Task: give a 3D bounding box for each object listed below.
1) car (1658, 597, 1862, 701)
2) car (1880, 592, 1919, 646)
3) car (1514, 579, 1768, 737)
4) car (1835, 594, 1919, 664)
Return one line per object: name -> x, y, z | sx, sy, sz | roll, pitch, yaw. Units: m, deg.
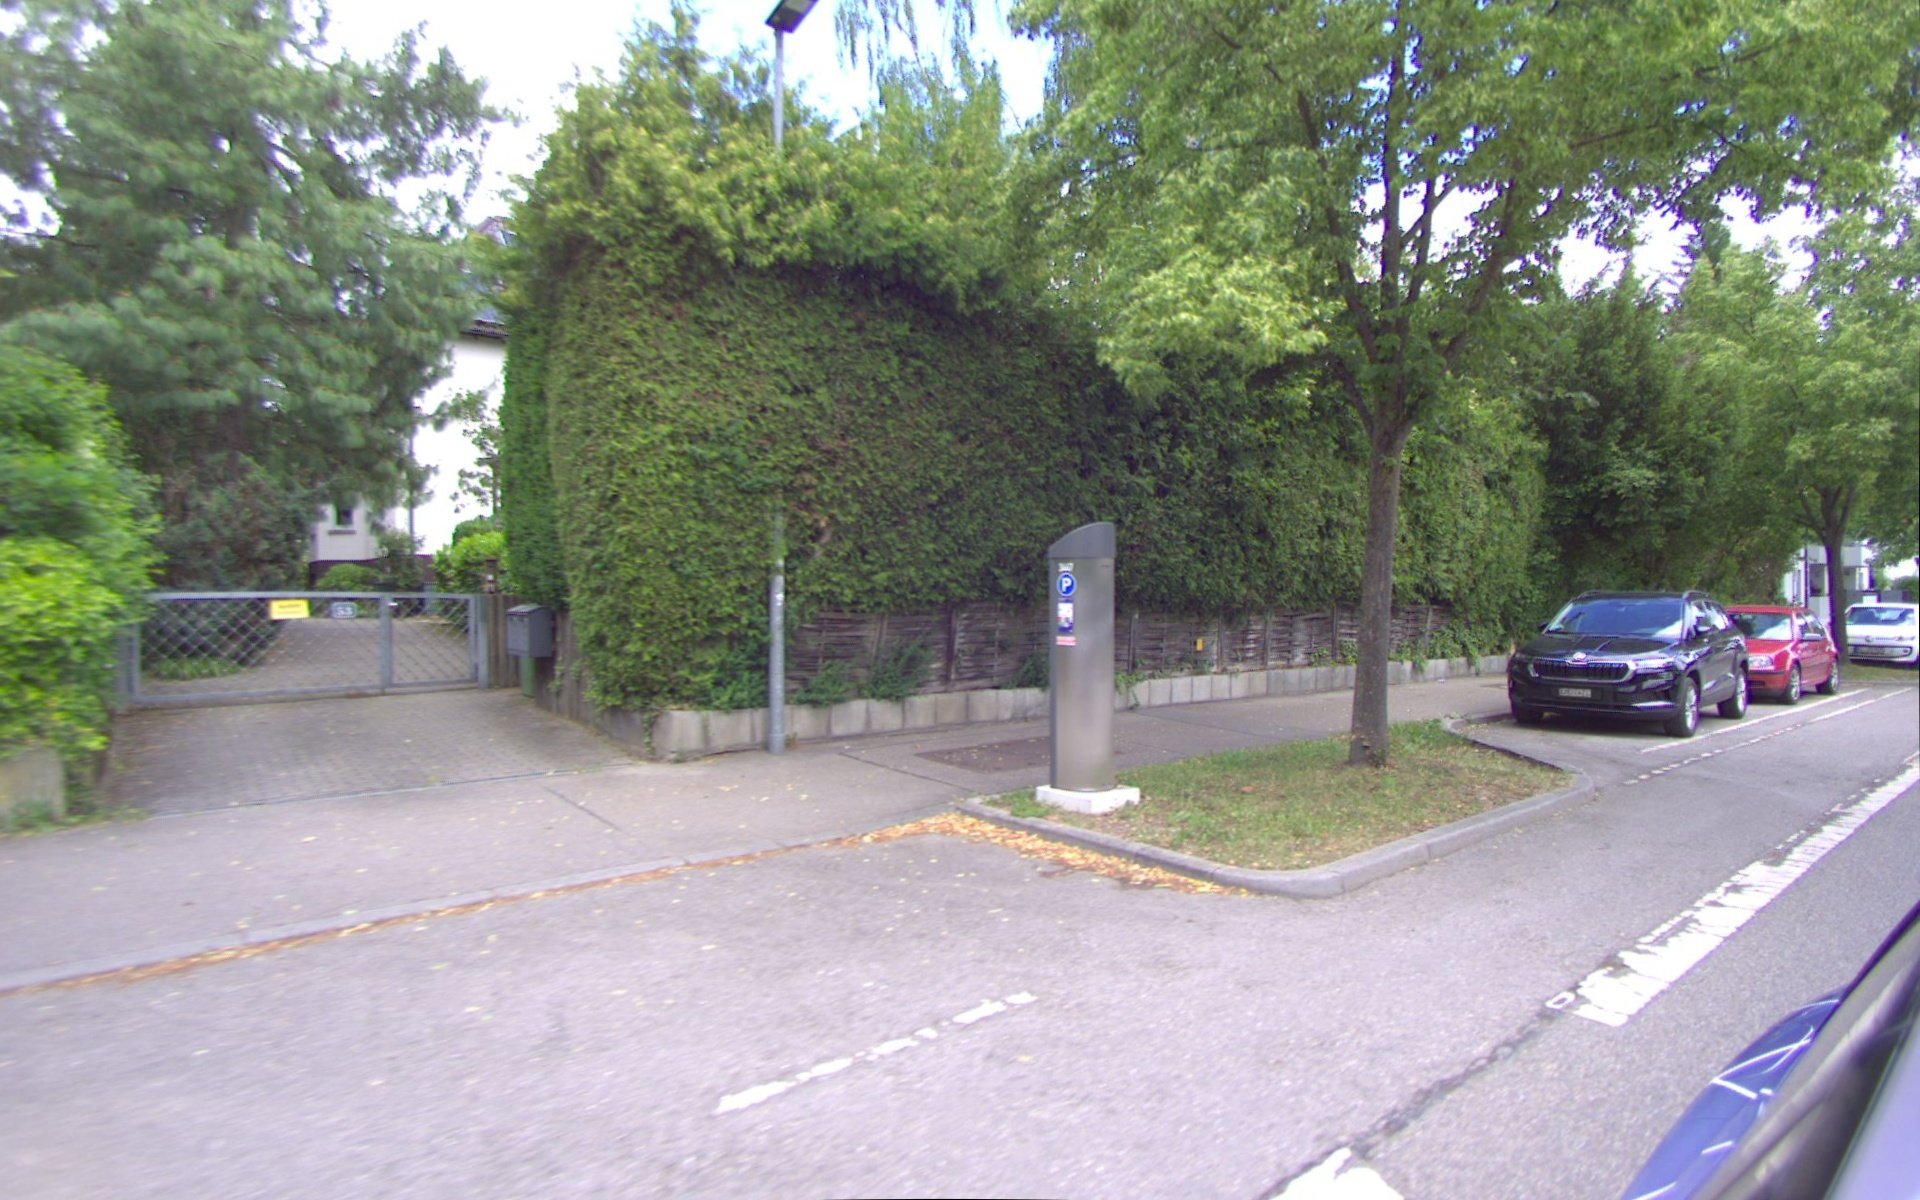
car -> 12.721, 0.682, 16.021 | 3.926, 1.438, 1.642 | 0, 1, -38
car -> 28.124, 0.515, 28.898 | 4.934, 1.462, 2.025 | 0, 0, -39
car -> 8.484, 0.591, 12.462 | 4.098, 1.636, 1.640 | 0, 0, -42
car -> 21.824, 0.624, 23.554 | 3.592, 1.478, 1.619 | 0, 1, -39
